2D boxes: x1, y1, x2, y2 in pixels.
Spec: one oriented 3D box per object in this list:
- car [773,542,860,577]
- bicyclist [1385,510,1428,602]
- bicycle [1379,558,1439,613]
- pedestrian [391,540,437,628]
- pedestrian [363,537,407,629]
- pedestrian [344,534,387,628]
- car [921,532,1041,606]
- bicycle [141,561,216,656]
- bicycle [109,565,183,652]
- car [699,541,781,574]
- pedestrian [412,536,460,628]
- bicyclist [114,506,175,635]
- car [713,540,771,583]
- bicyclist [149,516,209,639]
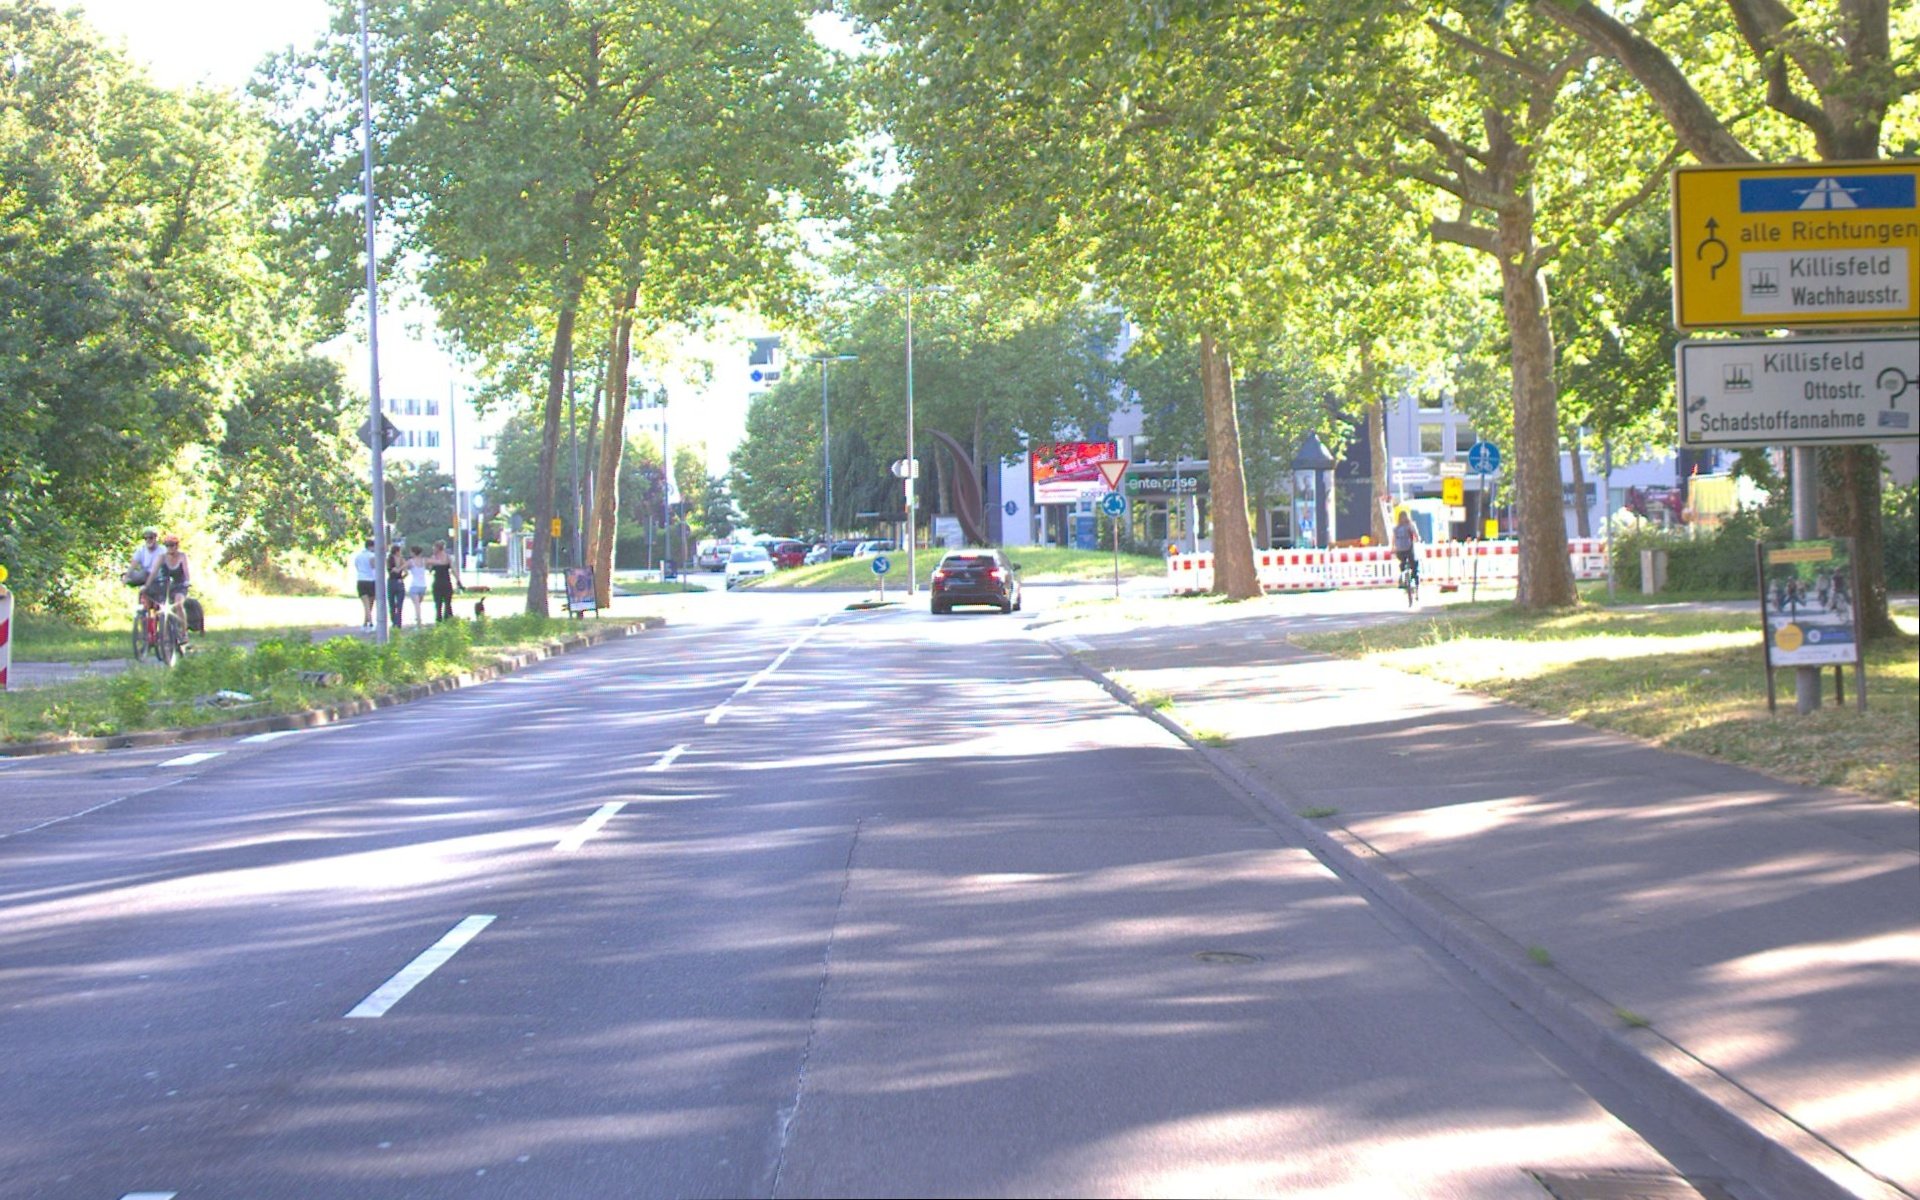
[{"bbox_3d":[-7.259,-2.055,174.201,3.987,1.741,1.795,0,1,-30],"label":"car"},{"bbox_3d":[8.289,-0.820,63.841,0.651,1.699,0.871,1,1,0],"label":"bicyclist"},{"bbox_3d":[8.292,-0.268,63.581,0.770,0.961,2.174,-2,0,-1],"label":"bicycle"},{"bbox_3d":[-10.158,-0.297,63.938,0.632,1.632,0.576,-1,1,-37],"label":"pedestrian"},{"bbox_3d":[-10.909,-0.332,65.255,0.665,1.733,0.751,-1,1,1],"label":"pedestrian"},{"bbox_3d":[-11.079,-0.362,64.079,0.632,1.733,0.664,-1,1,1],"label":"pedestrian"},{"bbox_3d":[0.501,-0.709,77.328,1.840,1.600,3.860,0,1,14],"label":"car"},{"bbox_3d":[-10.833,0.103,47.711,0.579,1.241,2.108,-1,1,-2],"label":"bicycle"},{"bbox_3d":[-11.730,0.109,49.584,0.579,1.182,2.032,-3,1,-1],"label":"bicycle"},{"bbox_3d":[-11.818,-2.289,184.512,3.987,1.741,1.795,0,1,-30],"label":"car"},{"bbox_3d":[-9.953,-0.350,65.346,0.748,1.733,0.852,-1,1,1],"label":"pedestrian"},{"bbox_3d":[-11.758,-0.429,49.585,0.579,1.825,0.968,-3,1,-1],"label":"bicyclist"},{"bbox_3d":[-8.274,-1.459,130.243,1.993,1.573,4.001,-1,1,-6],"label":"car"},{"bbox_3d":[-10.841,-0.325,47.730,0.579,1.674,0.971,-1,1,-1],"label":"bicyclist"}]
